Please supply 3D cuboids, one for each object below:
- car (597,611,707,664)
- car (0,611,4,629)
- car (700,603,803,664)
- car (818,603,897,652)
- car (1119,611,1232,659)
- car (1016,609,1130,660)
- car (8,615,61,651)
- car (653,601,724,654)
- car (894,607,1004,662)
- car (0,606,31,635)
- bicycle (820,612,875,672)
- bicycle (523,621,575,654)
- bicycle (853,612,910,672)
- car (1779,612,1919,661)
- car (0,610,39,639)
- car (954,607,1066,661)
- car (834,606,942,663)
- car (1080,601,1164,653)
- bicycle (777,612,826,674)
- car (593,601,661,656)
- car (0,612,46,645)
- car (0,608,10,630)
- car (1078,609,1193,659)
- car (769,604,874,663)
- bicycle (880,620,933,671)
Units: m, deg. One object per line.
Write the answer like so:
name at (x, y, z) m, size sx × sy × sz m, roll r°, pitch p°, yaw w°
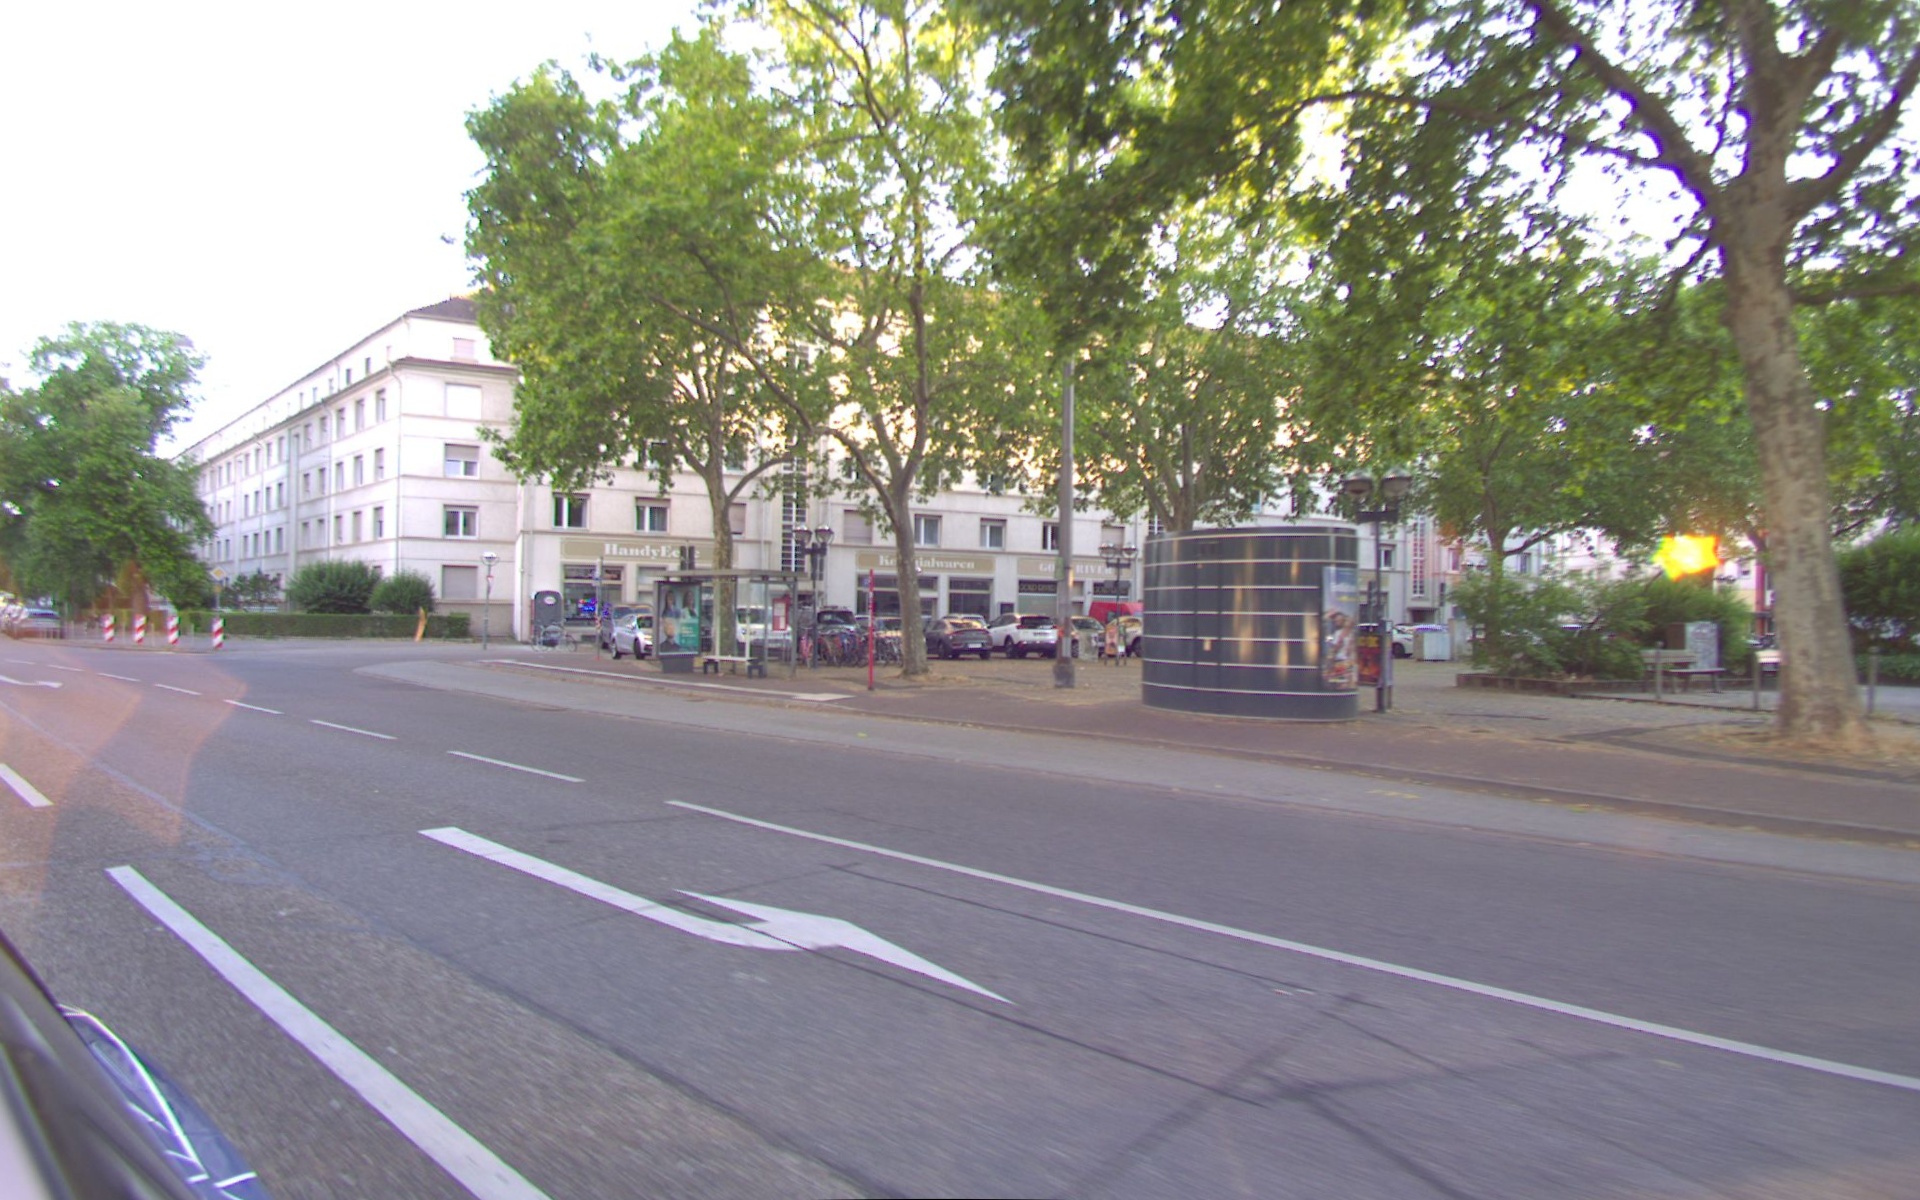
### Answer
car at (-9.700, 1.189, 31.654) m, size 1.966 × 1.515 × 4.652 m, roll 3°, pitch -3°, yaw -34°
car at (-91.140, 1.912, 95.134) m, size 1.866 × 1.612 × 4.263 m, roll 0°, pitch 0°, yaw -43°
car at (-6.774, 1.101, 32.490) m, size 1.965 × 1.795 × 4.655 m, roll 2°, pitch -3°, yaw -28°
car at (-4.644, 1.196, 45.301) m, size 1.965 × 1.970 × 4.656 m, roll 2°, pitch 0°, yaw -26°
car at (8.611, 1.431, 40.850) m, size 1.965 × 1.795 × 4.655 m, roll 2°, pitch -3°, yaw -28°
car at (4.167, 1.320, 37.980) m, size 1.965 × 1.795 × 4.655 m, roll 2°, pitch -3°, yaw -28°
car at (-45.825, 1.594, 50.100) m, size 1.866 × 1.612 × 4.004 m, roll 0°, pitch 0°, yaw -43°
car at (-11.365, 1.103, 42.100) m, size 1.965 × 1.970 × 4.656 m, roll 2°, pitch 0°, yaw -26°
car at (-0.483, 1.244, 35.863) m, size 1.965 × 1.795 × 4.655 m, roll 2°, pitch -3°, yaw -28°
car at (-61.041, 1.277, 65.043) m, size 1.866 × 1.787 × 4.263 m, roll 0°, pitch 0°, yaw -43°
bicycle at (-3.294, 1.172, 29.334) m, size 0.795 × 1.626 × 2.754 m, roll 0°, pitch 0°, yaw -24°
bicycle at (-15.607, 1.422, 38.488) m, size 1.776 × 1.215 × 0.649 m, roll 0°, pitch 0°, yaw -16°
bicycle at (-2.350, 1.206, 29.839) m, size 0.795 × 1.626 × 2.754 m, roll 0°, pitch 0°, yaw -24°
car at (37.606, 1.561, 42.430) m, size 1.965 × 1.953 × 4.655 m, roll 2°, pitch -3°, yaw -28°
car at (-56.748, 1.427, 60.913) m, size 1.866 × 1.612 × 4.263 m, roll 0°, pitch 0°, yaw -43°
car at (1.723, 1.269, 36.789) m, size 1.965 × 1.795 × 4.655 m, roll 2°, pitch -3°, yaw -28°
car at (-2.549, 1.211, 34.804) m, size 1.965 × 1.795 × 4.655 m, roll 2°, pitch -3°, yaw -28°
car at (8.376, 1.372, 52.739) m, size 1.965 × 2.460 × 4.656 m, roll 2°, pitch 0°, yaw -26°
bicycle at (-4.483, 1.165, 28.419) m, size 0.680 × 1.626 × 2.754 m, roll 0°, pitch 0°, yaw -24°
car at (-13.496, 1.099, 40.874) m, size 1.965 × 1.970 × 4.656 m, roll 2°, pitch 0°, yaw -26°
car at (-51.992, 1.544, 56.113) m, size 1.866 × 1.703 × 4.263 m, roll 0°, pitch 0°, yaw -43°
car at (-84.234, 1.635, 88.344) m, size 1.866 × 1.879 × 4.263 m, roll 0°, pitch 0°, yaw -43°
car at (6.754, 1.341, 39.451) m, size 1.965 × 1.795 × 4.655 m, roll 2°, pitch -3°, yaw -28°
car at (-4.715, 1.153, 33.924) m, size 1.965 × 1.795 × 4.655 m, roll 2°, pitch -3°, yaw -28°
bicycle at (-1.635, 1.337, 30.344) m, size 0.680 × 1.394 × 2.754 m, roll 0°, pitch 0°, yaw -24°
